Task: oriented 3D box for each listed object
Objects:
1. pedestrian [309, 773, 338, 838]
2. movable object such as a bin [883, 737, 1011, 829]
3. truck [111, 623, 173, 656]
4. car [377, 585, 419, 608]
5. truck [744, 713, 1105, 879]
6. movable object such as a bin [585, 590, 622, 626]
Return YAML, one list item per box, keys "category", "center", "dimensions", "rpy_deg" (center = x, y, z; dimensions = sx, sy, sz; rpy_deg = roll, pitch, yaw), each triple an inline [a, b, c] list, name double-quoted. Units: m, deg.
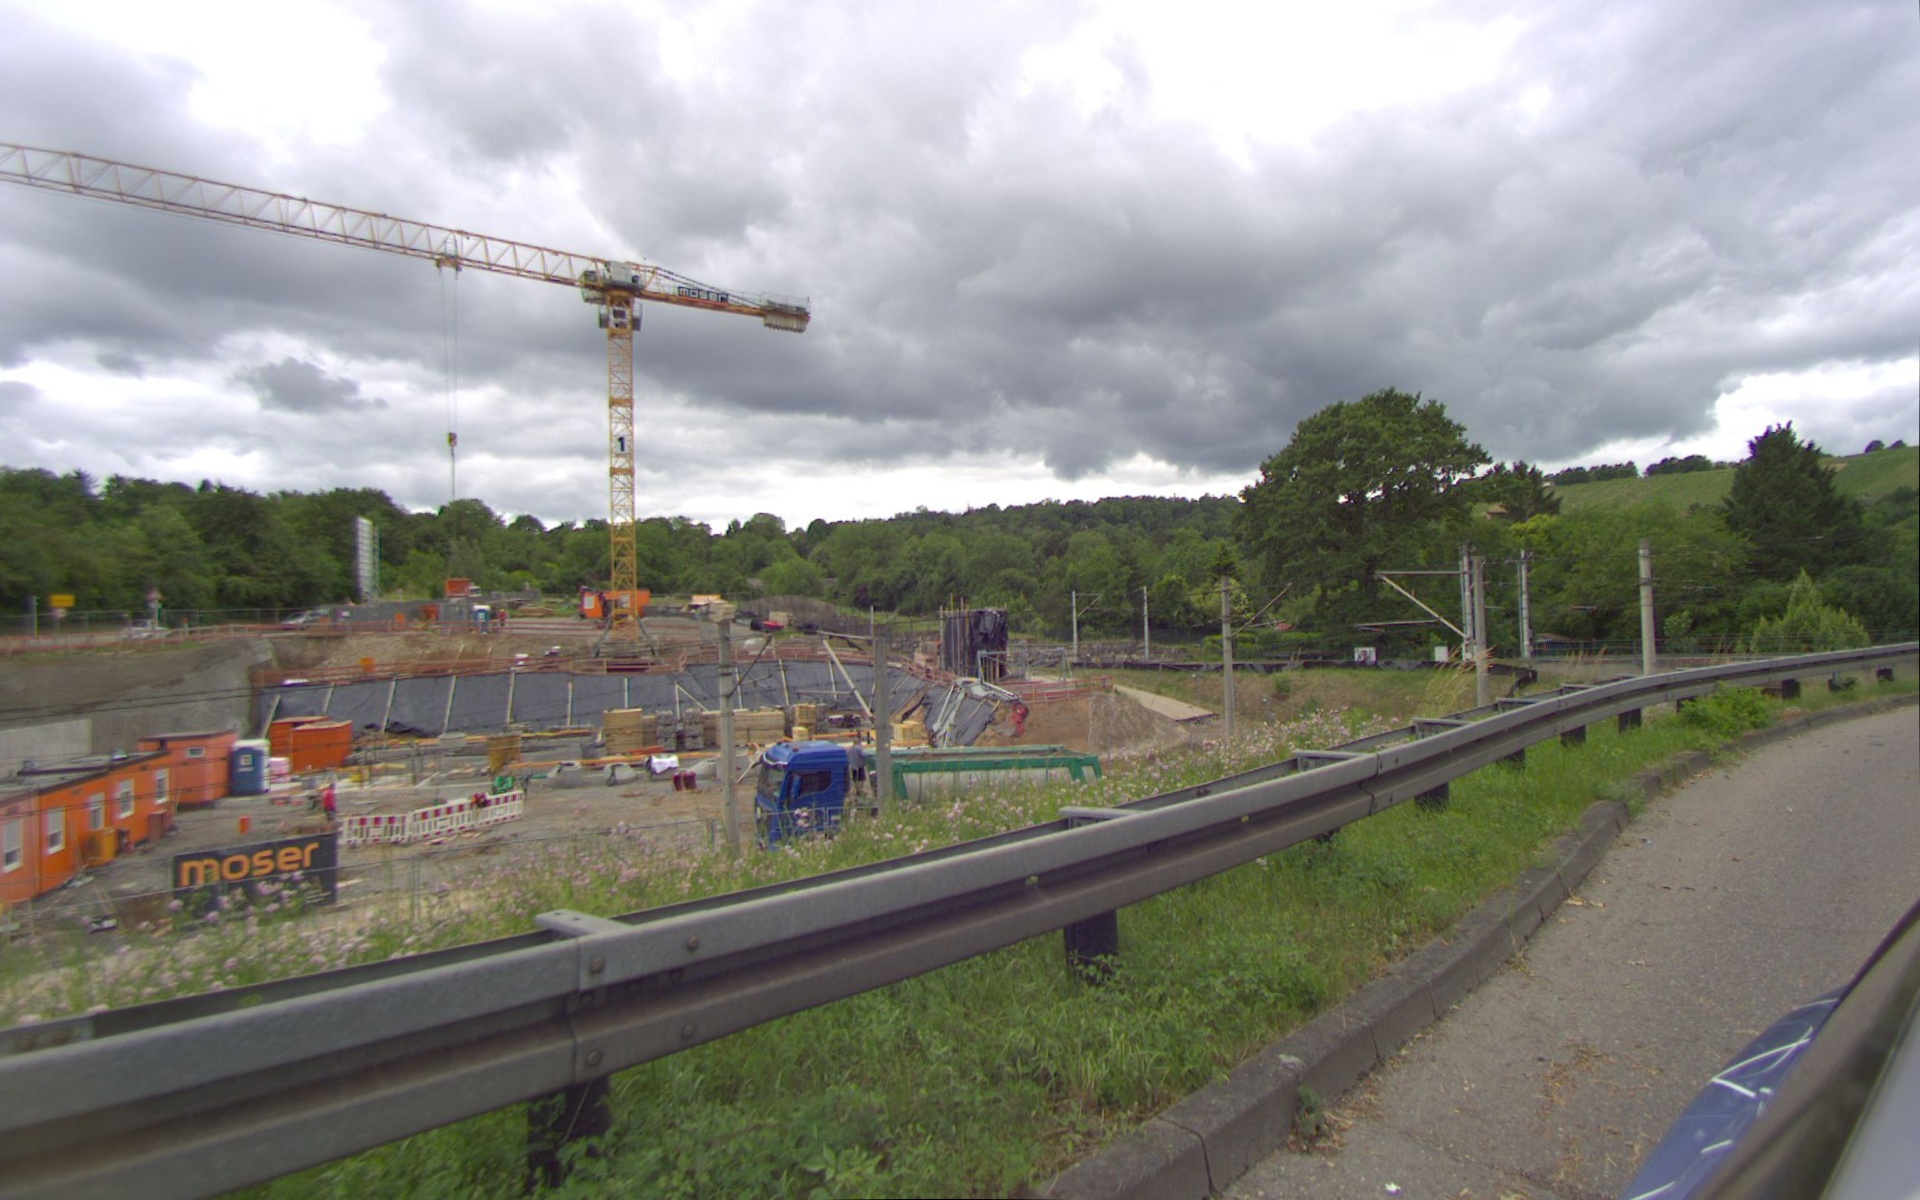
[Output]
- category: "pedestrian"
  center: [-21.500, 6.924, 34.180]
  dimensions: [0.689, 2.040, 0.804]
  rpy_deg: [-2, -5, -26]
- category: "movable object such as a bin"
  center: [-0.546, 6.593, 36.920]
  dimensions: [4.199, 2.785, 3.052]
  rpy_deg: [1, -2, -10]
- category: "truck"
  center: [-52.570, 2.565, 65.118]
  dimensions: [1.705, 2.040, 3.230]
  rpy_deg: [-2, -3, -9]
- category: "car"
  center: [-53.946, -0.331, 97.142]
  dimensions: [1.961, 2.039, 4.002]
  rpy_deg: [-3, -1, -4]
- category: "truck"
  center: [-0.899, 5.923, 32.276]
  dimensions: [11.382, 3.944, 2.849]
  rpy_deg: [1, -2, -28]
- category: "movable object such as a bin"
  center: [-32.188, 0.695, 91.378]
  dimensions: [2.744, 3.116, 1.843]
  rpy_deg: [-3, -1, -7]
